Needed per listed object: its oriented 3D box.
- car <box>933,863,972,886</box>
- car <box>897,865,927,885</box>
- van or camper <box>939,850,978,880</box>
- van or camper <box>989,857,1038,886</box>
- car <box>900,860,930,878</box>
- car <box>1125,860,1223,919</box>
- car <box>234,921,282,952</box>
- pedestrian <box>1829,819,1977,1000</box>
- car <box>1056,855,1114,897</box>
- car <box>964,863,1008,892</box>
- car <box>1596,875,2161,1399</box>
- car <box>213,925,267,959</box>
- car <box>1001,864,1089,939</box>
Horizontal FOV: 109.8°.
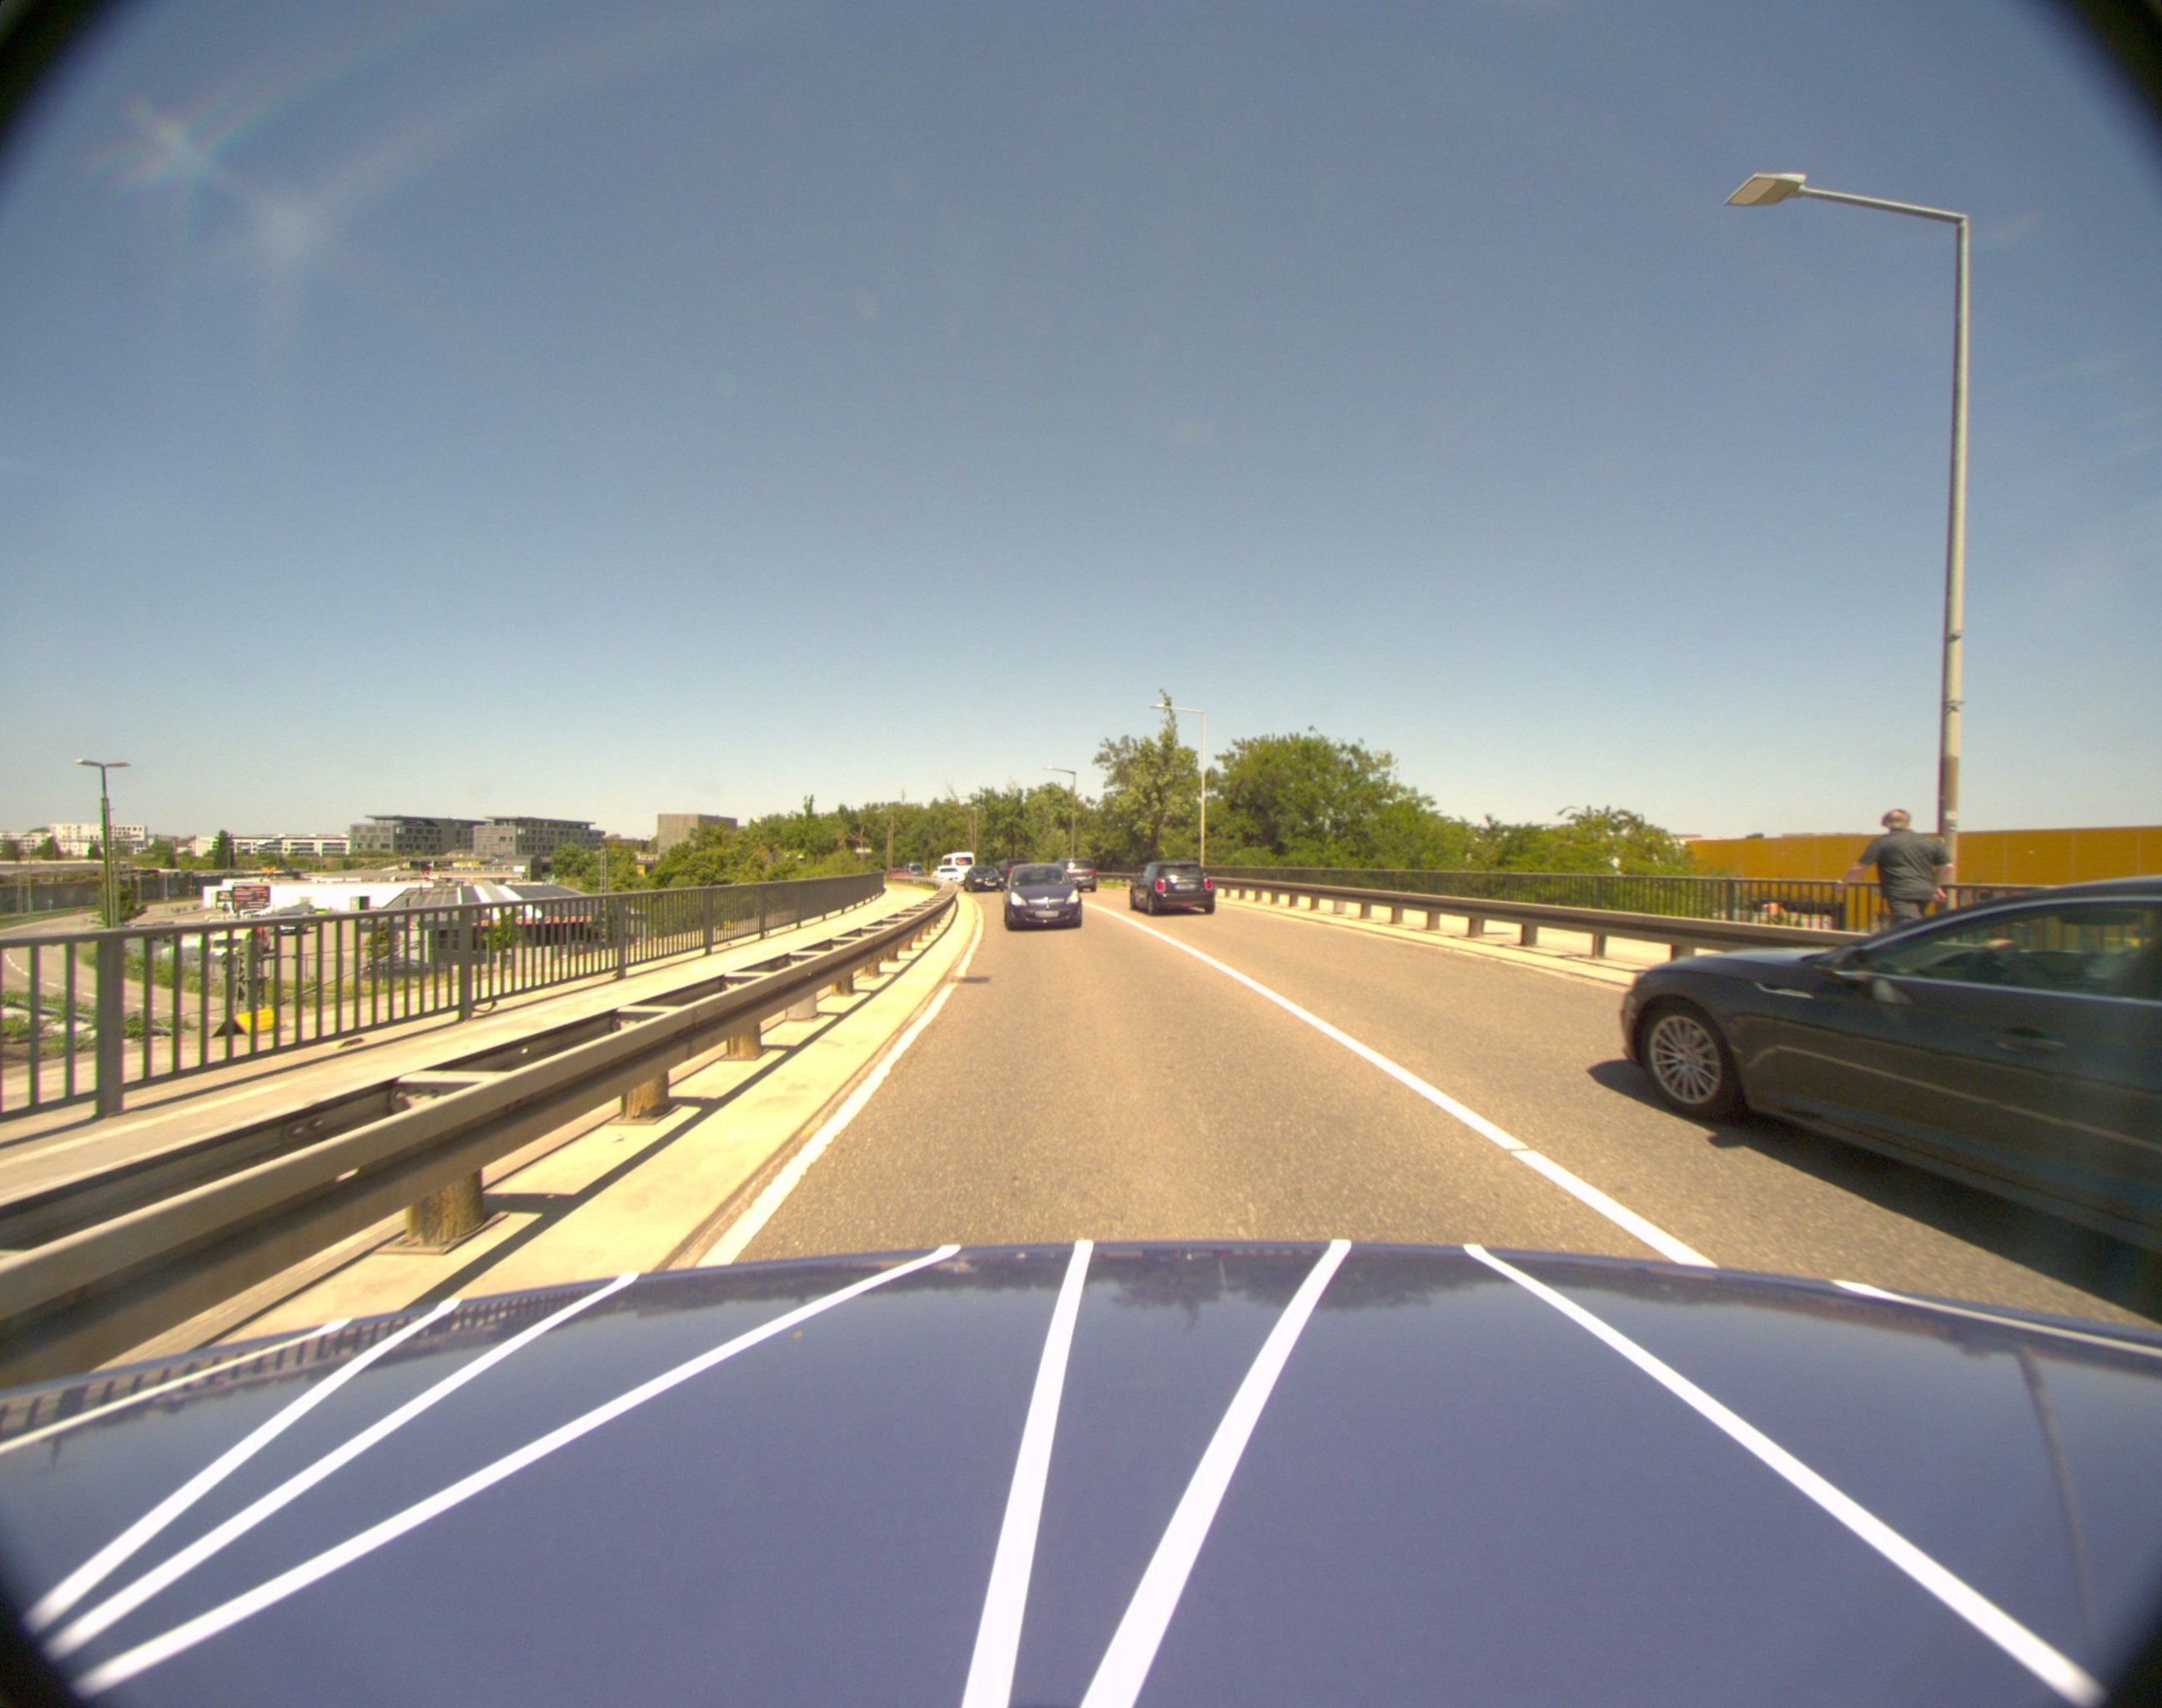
[{"bbox_3d":[-8.958,1.393,52.648,1.820,1.419,3.709,-2,0,-22],"label":"car"},{"bbox_3d":[-16.220,1.997,72.724,1.904,1.645,4.248,-2,1,-25],"label":"car"},{"bbox_3d":[-11.122,1.003,68.475,2.057,2.522,5.873,-2,0,-23],"label":"van or camper"},{"bbox_3d":[-4.647,1.144,51.653,2.002,1.750,4.689,-1,1,-22],"label":"van or camper"},{"bbox_3d":[-17.904,1.647,82.019,1.765,1.844,4.265,-2,0,-32],"label":"car"},{"bbox_3d":[2.451,0.911,20.994,1.795,1.411,3.770,0,1,-8],"label":"car"},{"bbox_3d":[-77.158,7.692,71.327,2.156,2.339,4.916,-7,3,-39],"label":"car"},{"bbox_3d":[8.578,0.550,7.961,0.640,1.772,0.811,-2,1,-5],"label":"pedestrian"},{"bbox_3d":[0.114,0.934,34.553,1.902,1.645,4.253,-1,1,-9],"label":"car"},{"bbox_3d":[-5.179,1.246,41.069,1.571,1.408,4.116,-2,0,-17],"label":"car"},{"bbox_3d":[4.046,0.874,2.407,1.794,1.407,4.574,-1,1,1],"label":"car"},{"bbox_3d":[-72.848,7.614,65.879,2.156,2.339,4.916,-7,3,-39],"label":"car"},{"bbox_3d":[-0.986,1.031,18.228,1.699,1.459,4.380,-2,0,-8],"label":"car"}]
